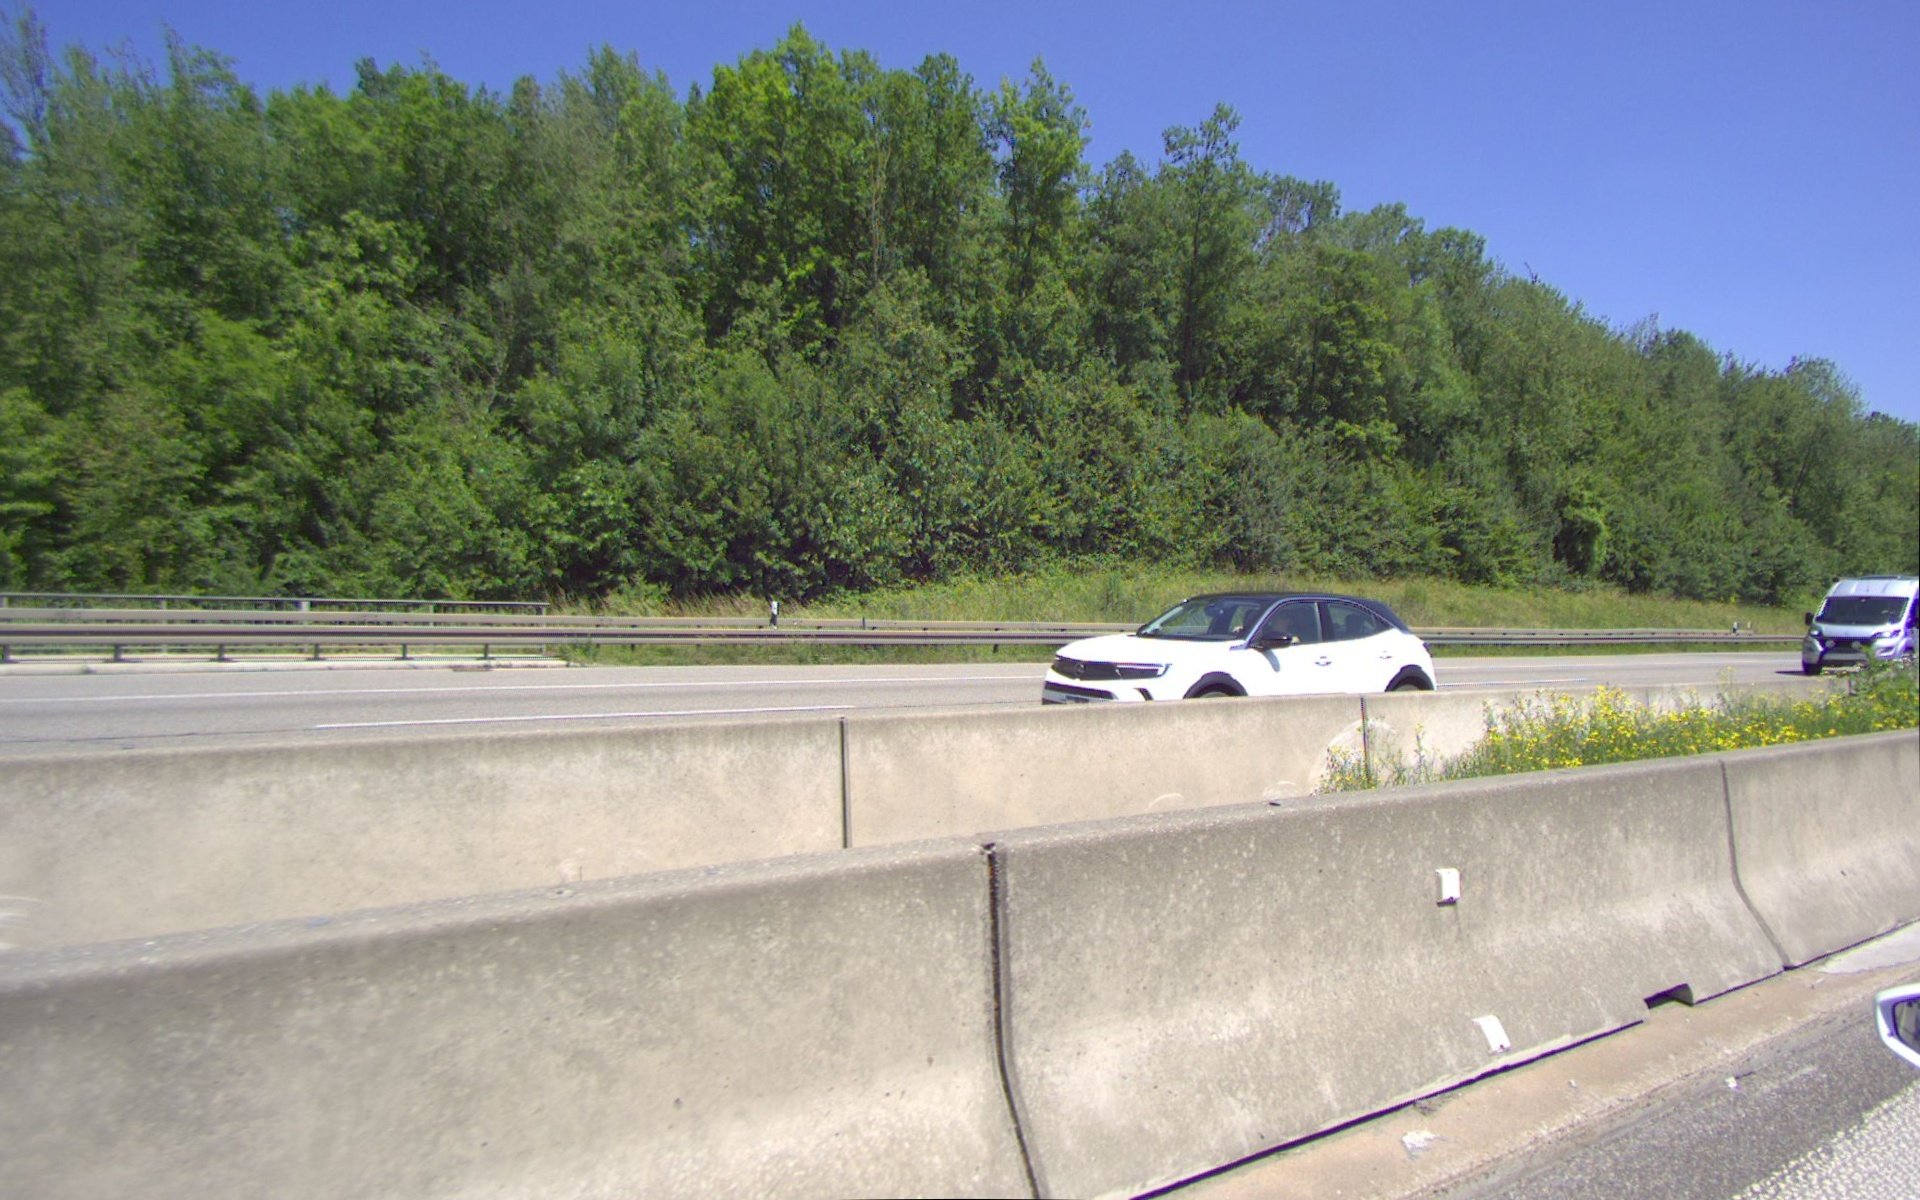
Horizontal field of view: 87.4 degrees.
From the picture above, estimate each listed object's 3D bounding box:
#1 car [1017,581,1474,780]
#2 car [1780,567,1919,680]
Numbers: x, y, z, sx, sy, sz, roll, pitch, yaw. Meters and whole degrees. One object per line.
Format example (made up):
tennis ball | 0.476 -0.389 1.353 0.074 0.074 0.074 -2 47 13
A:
car | 2.797 0.652 9.645 4.205 1.547 1.796 1 0 -30
car | 24.563 0.623 26.786 5.992 2.737 2.205 1 0 -31
